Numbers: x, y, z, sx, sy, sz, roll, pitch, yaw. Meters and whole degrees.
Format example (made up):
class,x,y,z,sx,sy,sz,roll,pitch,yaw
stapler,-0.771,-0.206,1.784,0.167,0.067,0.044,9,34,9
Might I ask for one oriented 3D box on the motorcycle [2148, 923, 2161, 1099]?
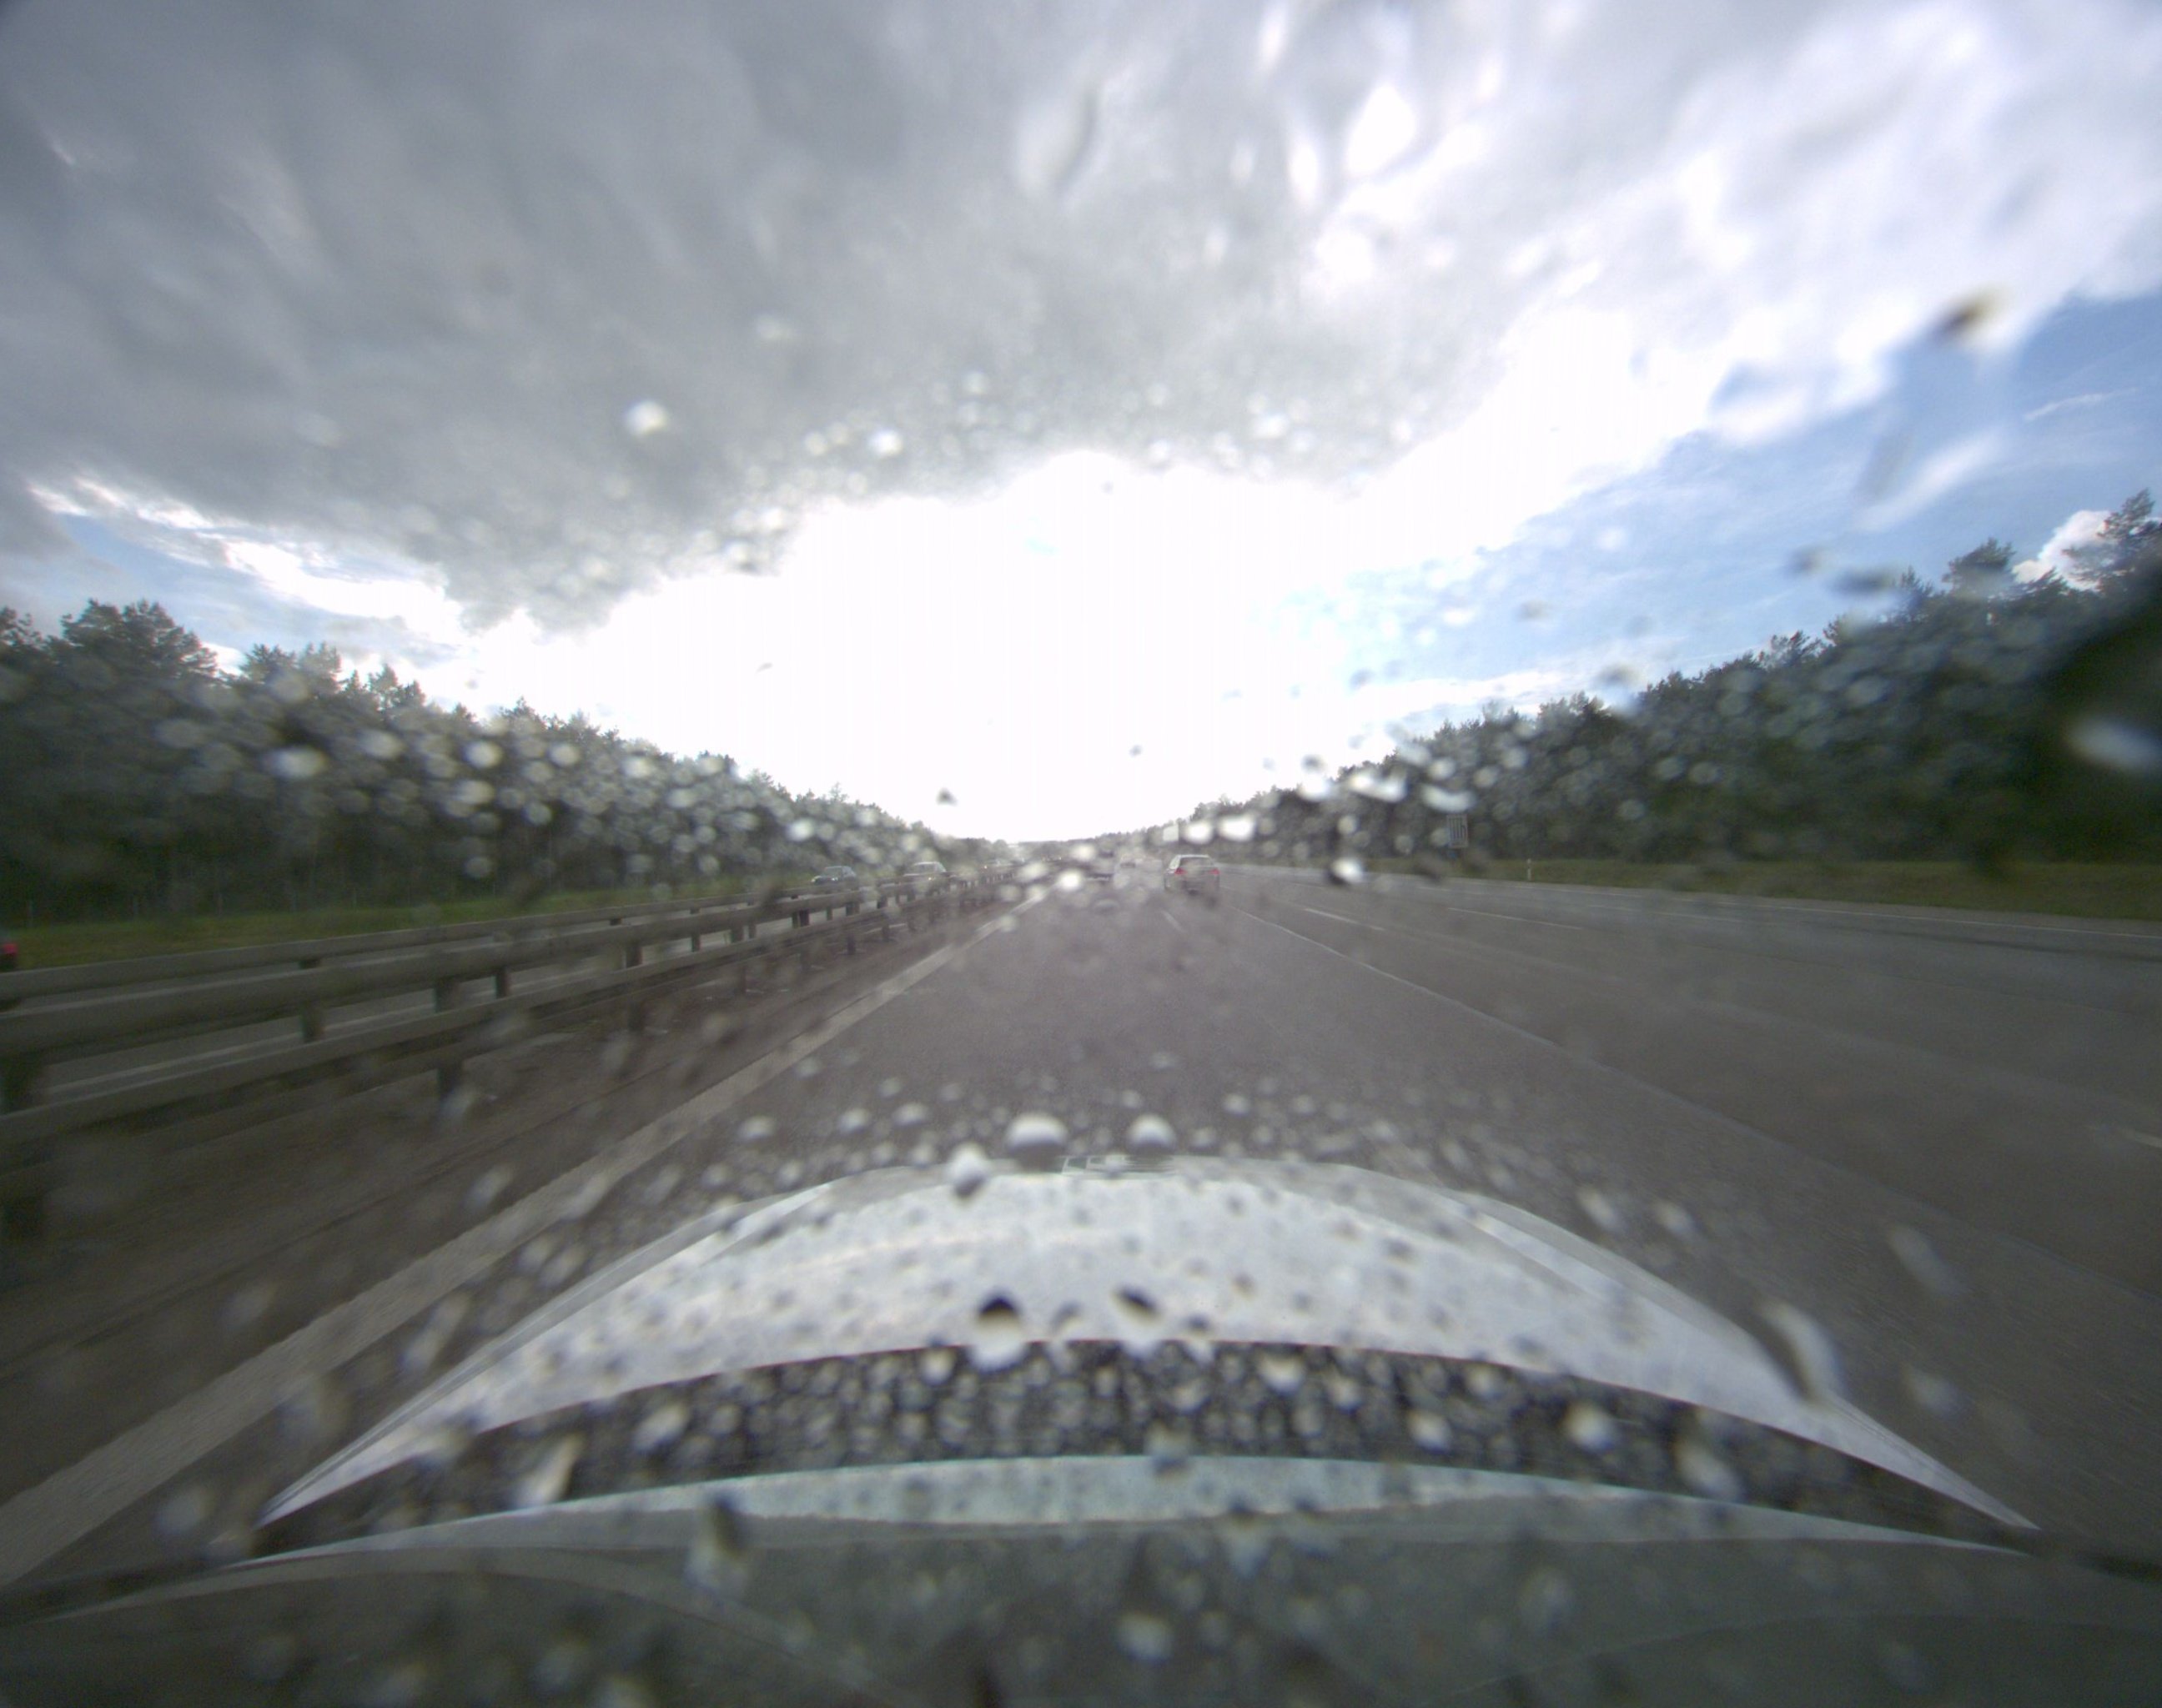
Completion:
class,x,y,z,sx,sy,sz,roll,pitch,yaw
motorcycle,6.800,0.913,3.737,0.996,1.031,2.175,-1,0,3

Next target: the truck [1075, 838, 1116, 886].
class,x,y,z,sx,sy,sz,roll,pitch,yaw
truck,0.821,0.421,45.642,2.130,2.489,5.313,-1,0,1

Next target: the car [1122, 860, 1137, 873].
class,x,y,z,sx,sy,sz,roll,pitch,yaw
car,5.766,1.440,96.910,1.823,1.466,4.003,-1,0,3

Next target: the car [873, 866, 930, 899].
class,x,y,z,sx,sy,sz,roll,pitch,yaw
car,-8.380,1.315,38.339,1.687,1.376,4.001,-1,0,1

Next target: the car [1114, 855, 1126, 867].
class,x,y,z,sx,sy,sz,roll,pitch,yaw
car,6.604,1.164,137.528,1.901,2.014,4.001,-1,0,2

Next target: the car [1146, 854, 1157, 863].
class,x,y,z,sx,sy,sz,roll,pitch,yaw
car,15.142,0.962,175.155,1.986,2.014,4.001,0,0,2

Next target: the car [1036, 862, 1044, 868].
class,x,y,z,sx,sy,sz,roll,pitch,yaw
car,-10.581,2.885,209.877,1.805,1.422,4.236,-4,-1,0

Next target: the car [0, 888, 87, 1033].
class,x,y,z,sx,sy,sz,roll,pitch,yaw
car,-13.699,1.331,8.381,1.717,1.683,4.138,-4,0,1

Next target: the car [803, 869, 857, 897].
class,x,y,z,sx,sy,sz,roll,pitch,yaw
car,-16.058,1.837,52.347,1.893,1.547,4.514,-4,0,1

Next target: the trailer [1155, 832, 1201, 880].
class,x,y,z,sx,sy,sz,roll,pitch,yaw
trailer,8.803,0.242,75.337,2.317,4.001,13.403,-1,-1,-1

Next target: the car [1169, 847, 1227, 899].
class,x,y,z,sx,sy,sz,roll,pitch,yaw
car,4.554,0.733,32.384,2.067,1.885,5.019,-1,-1,6

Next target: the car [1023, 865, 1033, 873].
class,x,y,z,sx,sy,sz,roll,pitch,yaw
car,-10.307,2.848,158.753,1.723,1.481,3.999,-2,-1,-1

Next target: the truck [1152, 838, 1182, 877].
class,x,y,z,sx,sy,sz,roll,pitch,yaw
truck,8.644,0.361,82.392,2.287,3.868,5.388,-1,-1,-2
